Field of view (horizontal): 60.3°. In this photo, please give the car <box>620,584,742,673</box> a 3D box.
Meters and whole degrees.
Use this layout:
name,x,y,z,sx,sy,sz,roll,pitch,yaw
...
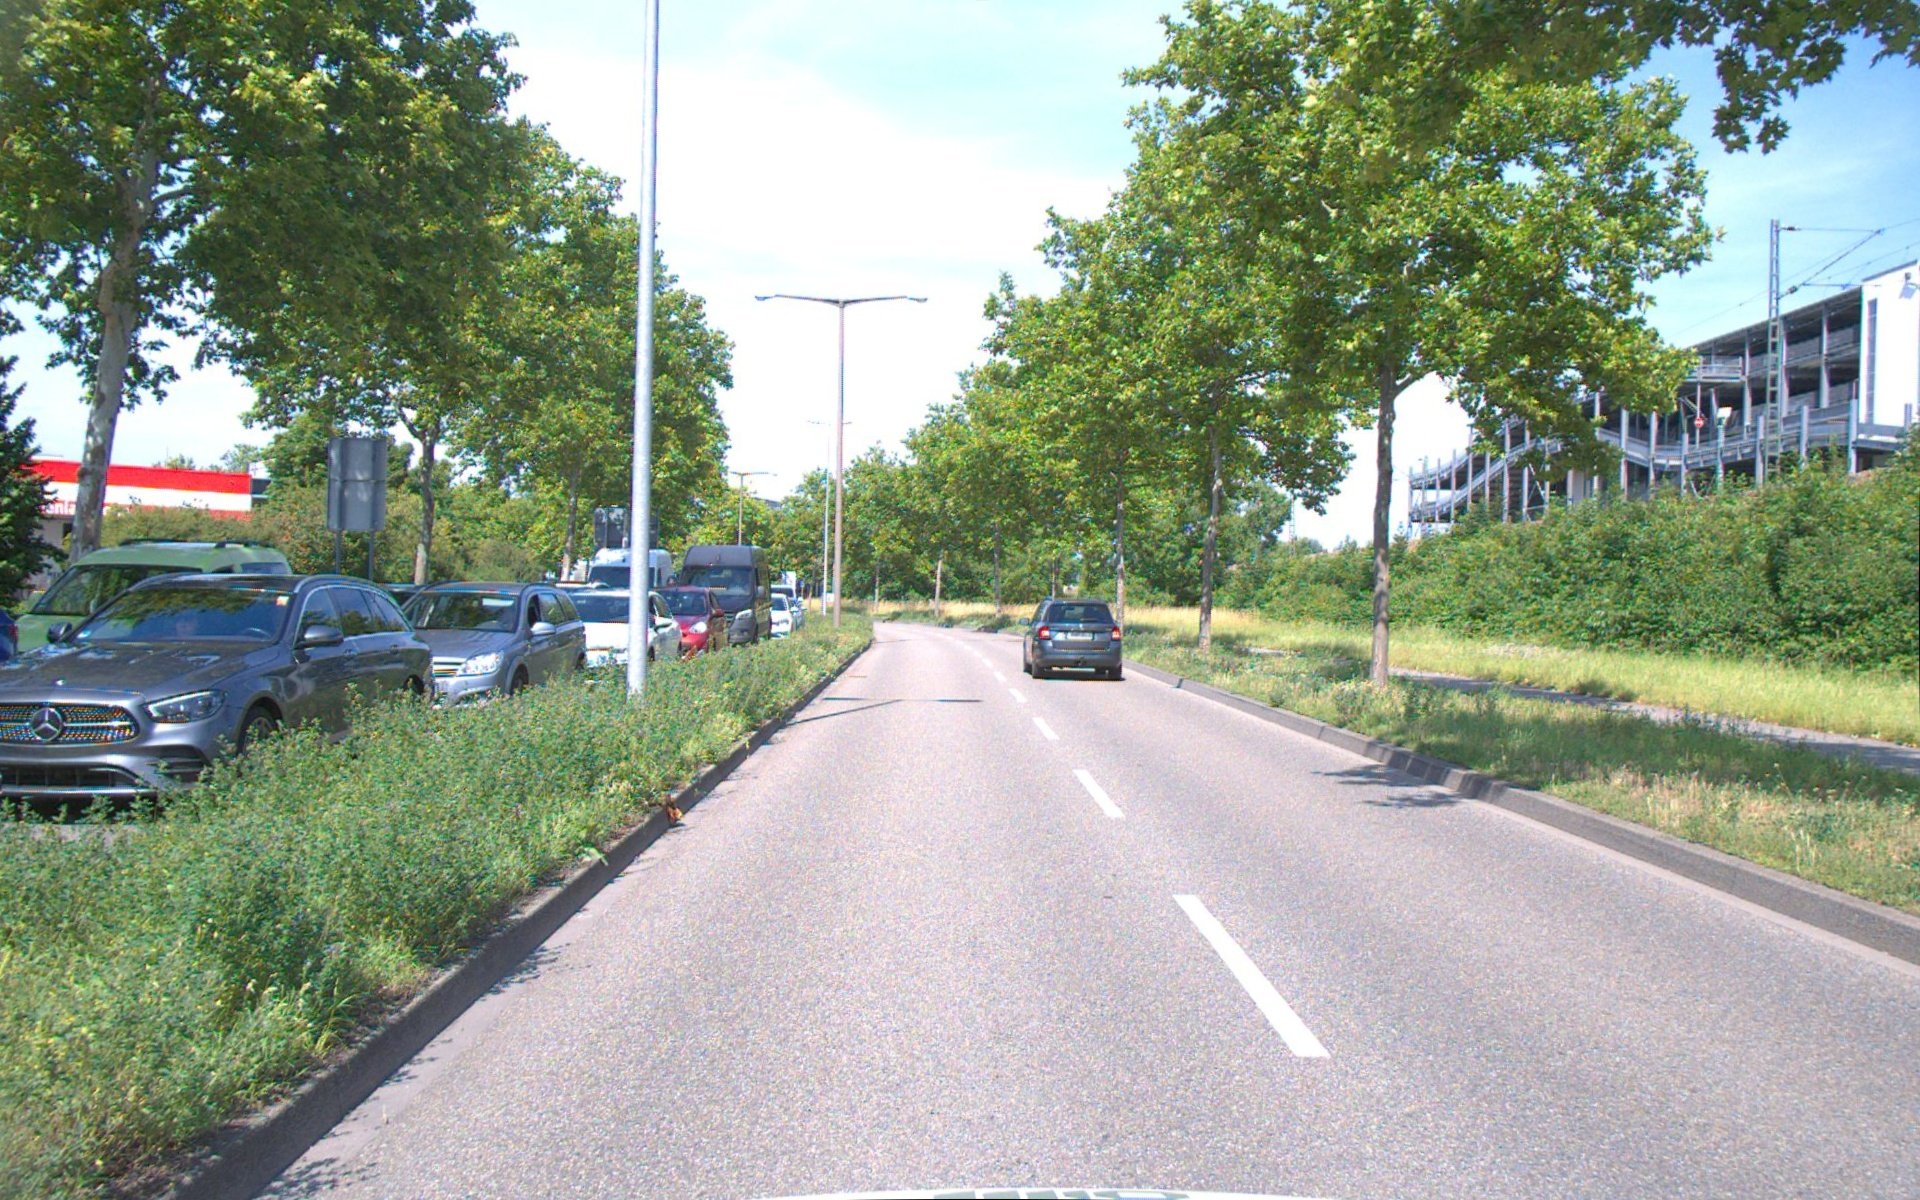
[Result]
name,x,y,z,sx,sy,sz,roll,pitch,yaw
car,-5.106,0.482,30.698,1.654,1.537,3.814,1,0,-1

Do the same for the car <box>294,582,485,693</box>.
name,x,y,z,sx,sy,sz,roll,pitch,yaw
car,-8.645,0.523,25.384,1.654,1.557,3.814,1,0,-1

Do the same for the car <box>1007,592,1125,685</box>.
name,x,y,z,sx,sy,sz,roll,pitch,yaw
car,1.931,0.668,31.162,1.641,1.478,4.033,4,0,-3

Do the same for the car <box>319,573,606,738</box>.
name,x,y,z,sx,sy,sz,roll,pitch,yaw
car,-5.272,0.520,18.208,1.776,1.557,4.641,1,0,-1

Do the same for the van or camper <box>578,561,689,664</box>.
name,x,y,z,sx,sy,sz,roll,pitch,yaw
van or camper,-8.837,0.307,45.207,1.974,2.633,5.516,1,0,-1

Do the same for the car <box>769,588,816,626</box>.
name,x,y,z,sx,sy,sz,roll,pitch,yaw
car,-7.203,0.288,71.321,1.654,1.557,3.814,1,0,-1

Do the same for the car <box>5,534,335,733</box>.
name,x,y,z,sx,sy,sz,roll,pitch,yaw
car,-8.338,0.328,17.890,1.654,1.891,4.035,1,0,-1

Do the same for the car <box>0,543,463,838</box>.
name,x,y,z,sx,sy,sz,roll,pitch,yaw
car,-5.170,0.488,11.753,1.809,1.635,5.007,1,0,-1

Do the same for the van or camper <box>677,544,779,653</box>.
name,x,y,z,sx,sy,sz,roll,pitch,yaw
van or camper,-5.508,-0.008,39.852,1.899,2.410,5.395,1,-1,-2

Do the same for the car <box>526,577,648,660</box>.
name,x,y,z,sx,sy,sz,roll,pitch,yaw
car,-8.498,0.395,37.976,1.953,1.786,3.999,1,0,-1

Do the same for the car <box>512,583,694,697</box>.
name,x,y,z,sx,sy,sz,roll,pitch,yaw
car,-5.115,0.522,24.287,1.747,1.484,4.471,1,0,-1

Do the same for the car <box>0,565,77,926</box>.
name,x,y,z,sx,sy,sz,roll,pitch,yaw
car,-4.794,0.600,5.176,1.787,1.491,4.448,1,0,-2

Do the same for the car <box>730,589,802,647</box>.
name,x,y,z,sx,sy,sz,roll,pitch,yaw
car,-5.501,0.511,47.341,1.654,1.557,3.813,1,-1,-1

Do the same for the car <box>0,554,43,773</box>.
name,x,y,z,sx,sy,sz,roll,pitch,yaw
car,-8.072,0.482,10.940,1.654,1.660,4.310,1,0,-1

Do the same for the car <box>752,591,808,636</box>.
name,x,y,z,sx,sy,sz,roll,pitch,yaw
car,-6.505,0.485,60.163,1.654,1.557,3.813,1,-1,-1
